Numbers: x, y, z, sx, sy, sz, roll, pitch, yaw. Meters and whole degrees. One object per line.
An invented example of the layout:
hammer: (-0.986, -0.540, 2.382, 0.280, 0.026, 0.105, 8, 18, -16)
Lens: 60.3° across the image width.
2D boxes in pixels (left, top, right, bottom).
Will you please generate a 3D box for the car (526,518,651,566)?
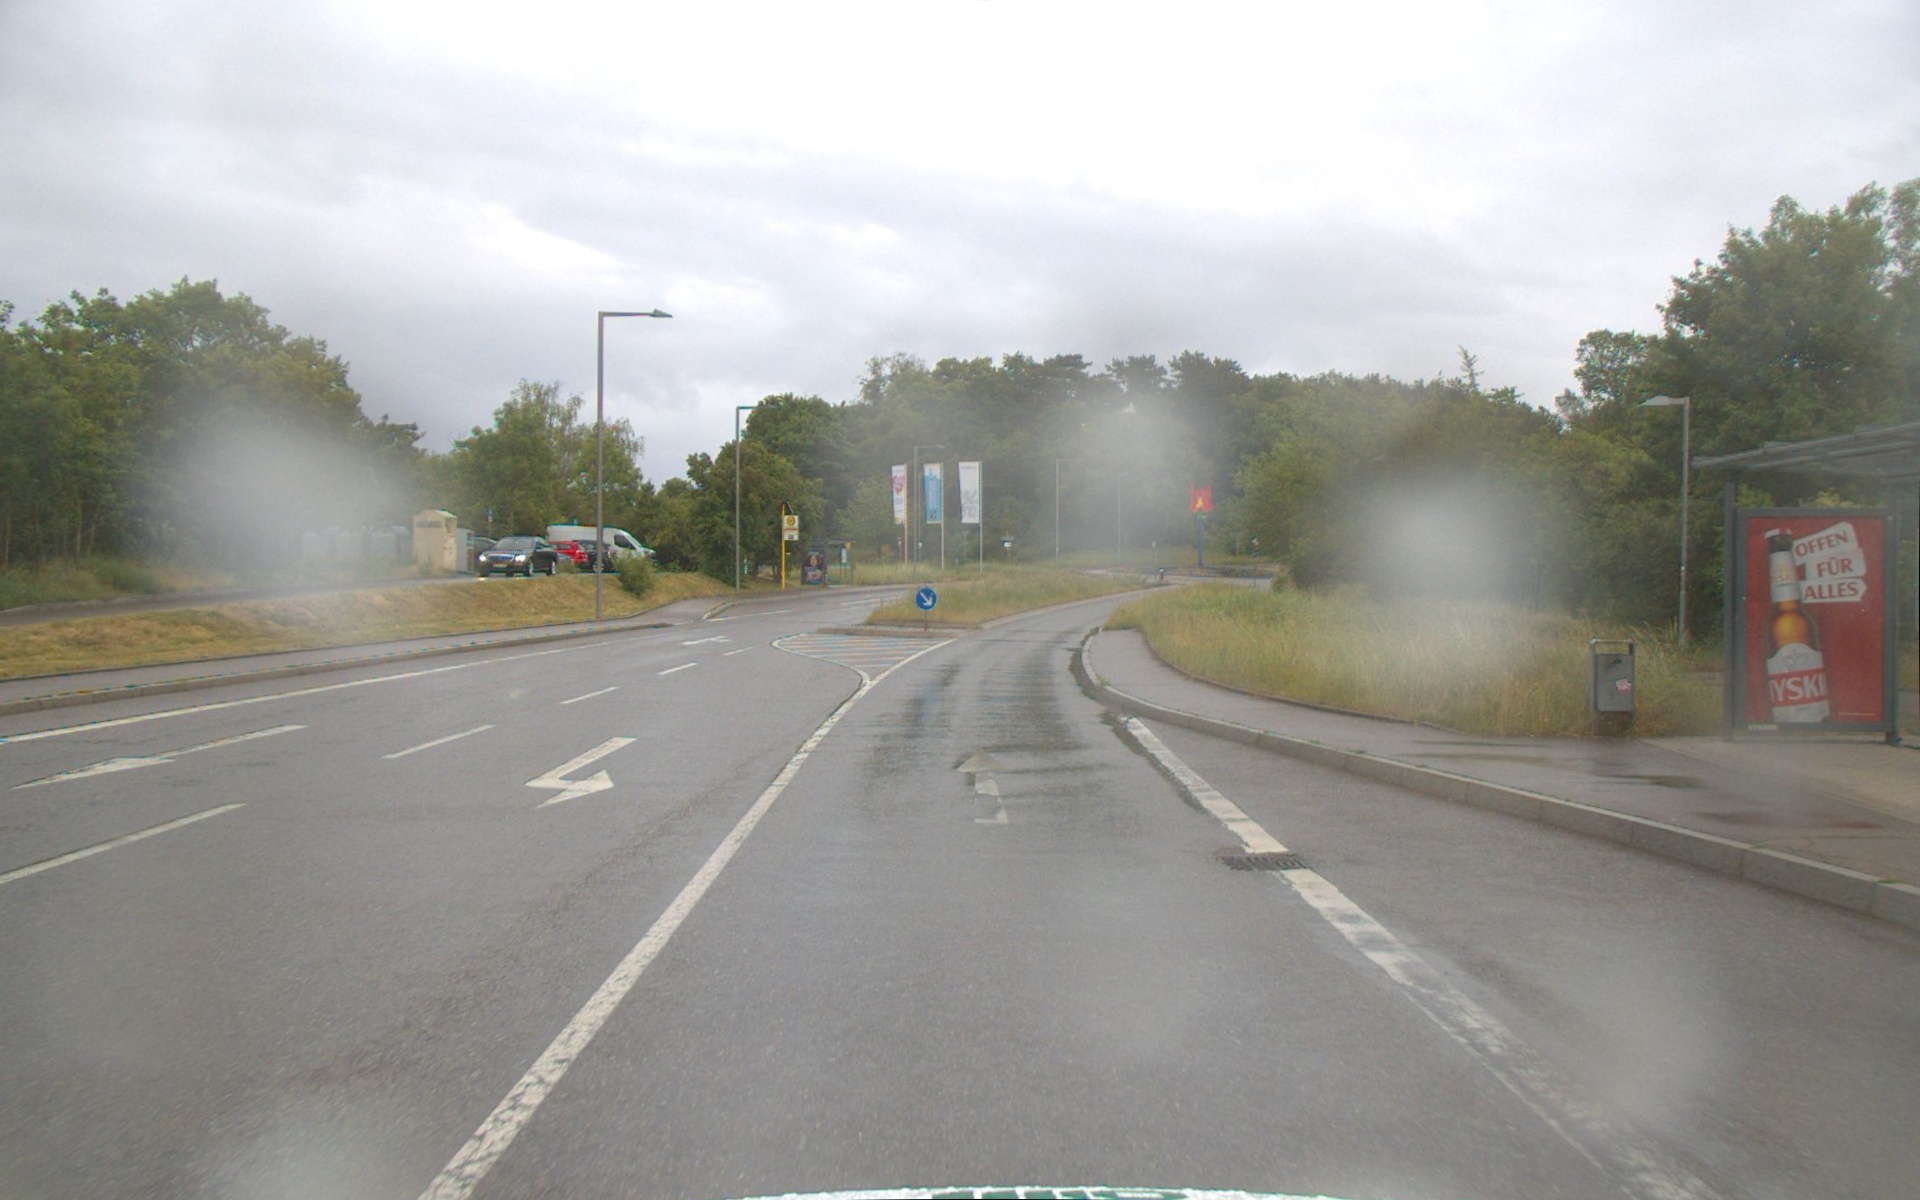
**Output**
car: (-20.739, -3.238, 92.522, 6.420, 2.439, 2.139, 2, 0, 1)

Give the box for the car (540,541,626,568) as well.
car: (-19.297, -2.336, 84.749, 3.902, 1.387, 1.849, 0, 1, 6)

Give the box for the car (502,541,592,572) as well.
car: (-20.381, -2.157, 81.628, 3.903, 1.494, 1.849, 0, 1, 5)

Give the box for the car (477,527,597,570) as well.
car: (-18.281, -2.215, 71.595, 4.607, 1.722, 2.006, 2, 1, 4)

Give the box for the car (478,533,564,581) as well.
car: (-16.110, -1.610, 60.914, 1.656, 1.595, 4.545, 3, 3, 4)
